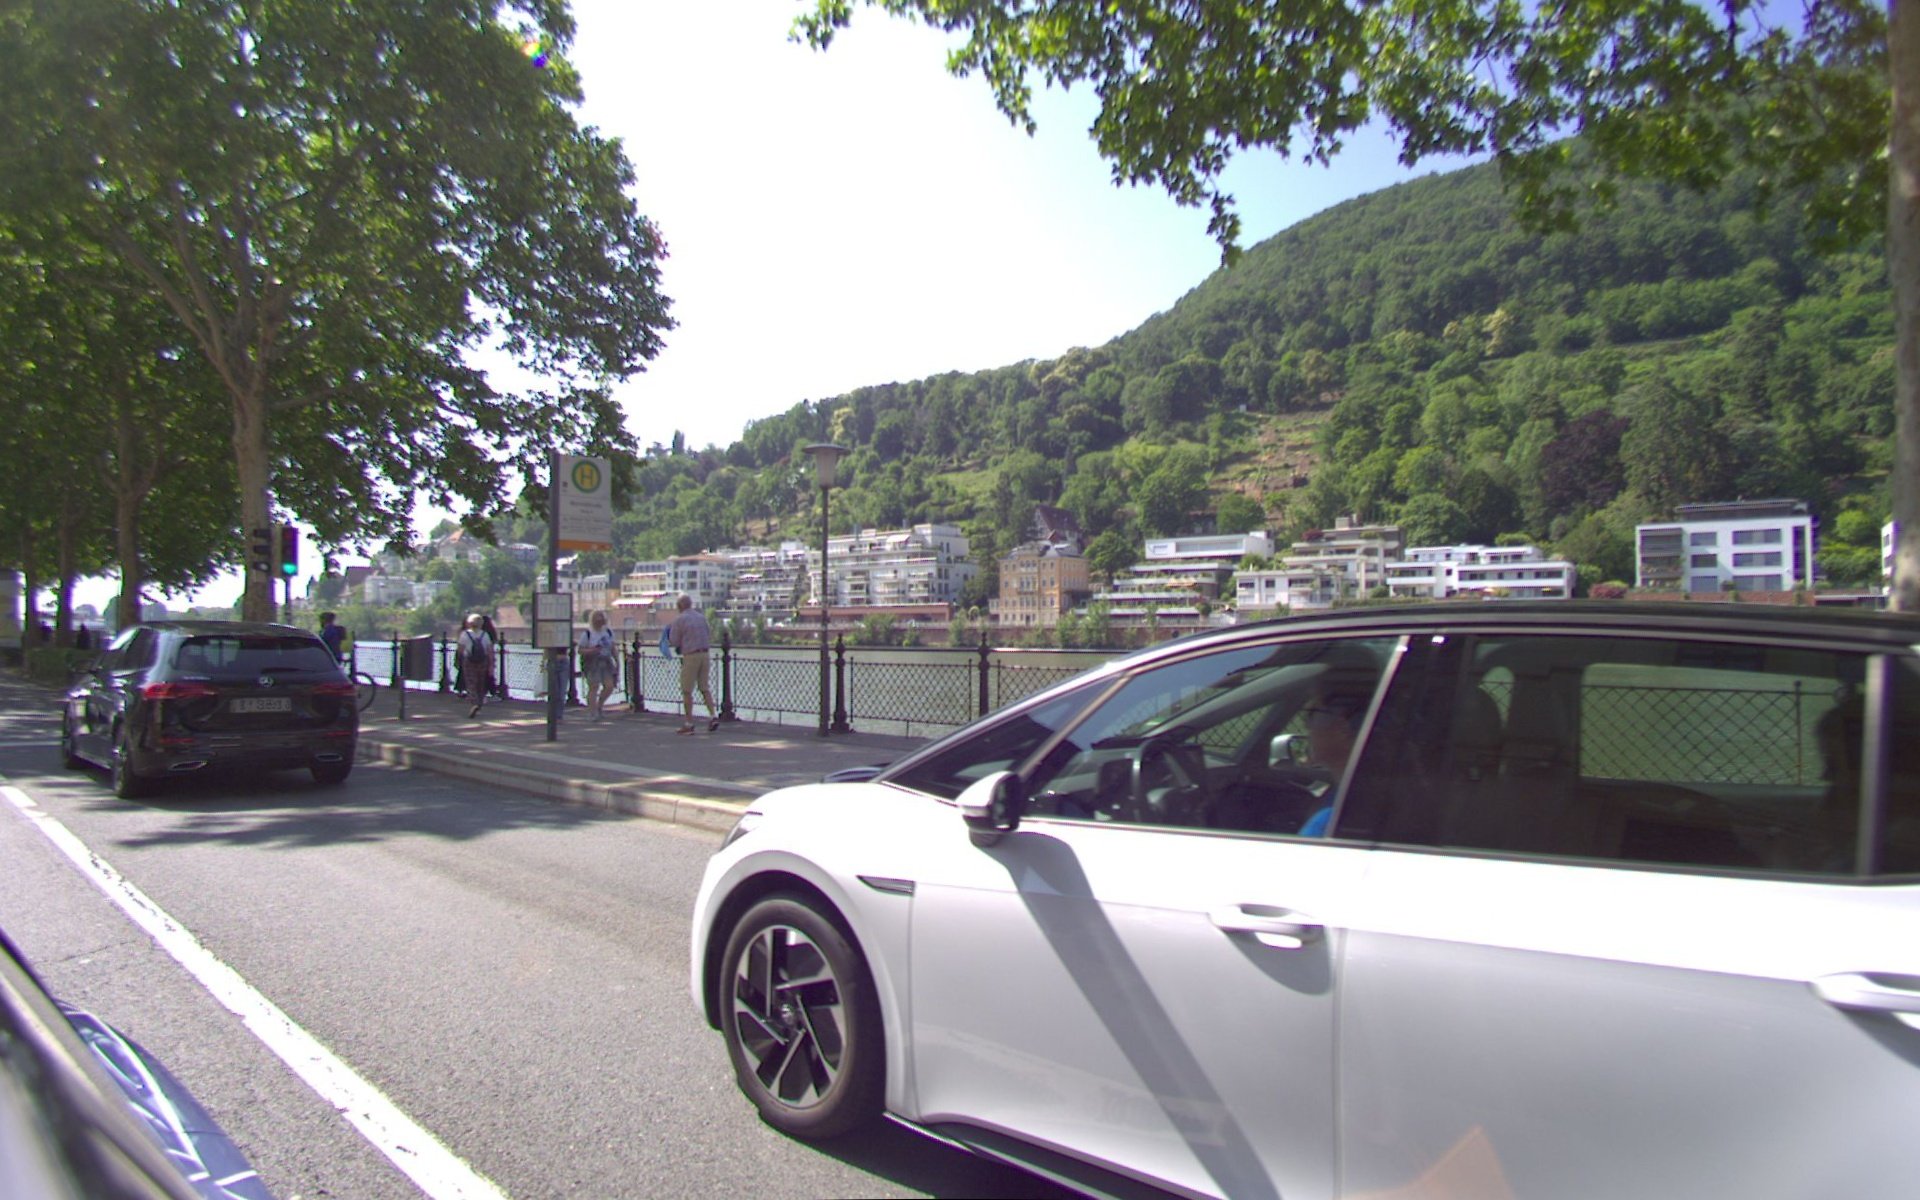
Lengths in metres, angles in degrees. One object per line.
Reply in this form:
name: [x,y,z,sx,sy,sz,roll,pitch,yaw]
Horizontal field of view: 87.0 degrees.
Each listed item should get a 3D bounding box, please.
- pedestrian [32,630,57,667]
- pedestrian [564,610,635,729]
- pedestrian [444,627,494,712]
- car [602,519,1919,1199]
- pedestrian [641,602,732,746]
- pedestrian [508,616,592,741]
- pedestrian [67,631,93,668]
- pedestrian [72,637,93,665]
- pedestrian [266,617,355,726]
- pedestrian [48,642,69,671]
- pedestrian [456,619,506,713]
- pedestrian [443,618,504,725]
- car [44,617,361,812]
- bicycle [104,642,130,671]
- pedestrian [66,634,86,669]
pedestrian: [-42.762,2.260,47.271,0.729,1.744,0.750,-2,-3,40]
pedestrian: [-5.429,1.040,15.248,0.792,1.727,0.646,-2,-4,40]
pedestrian: [-9.739,1.365,20.080,0.910,1.621,0.543,-2,0,41]
car: [1.058,0.717,2.568,4.402,1.529,1.717,-2,-4,41]
pedestrian: [-3.545,0.937,13.104,0.971,1.777,0.704,-2,-3,40]
pedestrian: [-5.864,1.096,14.492,0.782,1.727,0.827,-2,-3,40]
pedestrian: [-41.212,2.315,47.415,0.709,1.696,0.783,-2,-3,40]
pedestrian: [-41.272,2.387,47.595,0.552,1.330,0.625,-2,-3,40]
pedestrian: [-11.000,1.195,17.177,1.008,1.786,0.770,0,-2,-9]
pedestrian: [-41.715,2.618,46.826,0.552,1.330,0.625,-2,-3,40]
pedestrian: [-8.957,1.213,18.930,0.695,1.713,0.612,-2,-2,40]
pedestrian: [-7.656,1.109,15.925,0.991,1.630,0.488,-2,-3,41]
car: [-7.701,1.002,10.118,4.404,1.529,1.682,-2,-5,42]
bicycle: [-35.809,2.395,42.999,1.843,1.161,0.557,-2,-1,41]
pedestrian: [-41.387,2.409,47.382,0.552,1.640,0.625,-2,-3,40]
